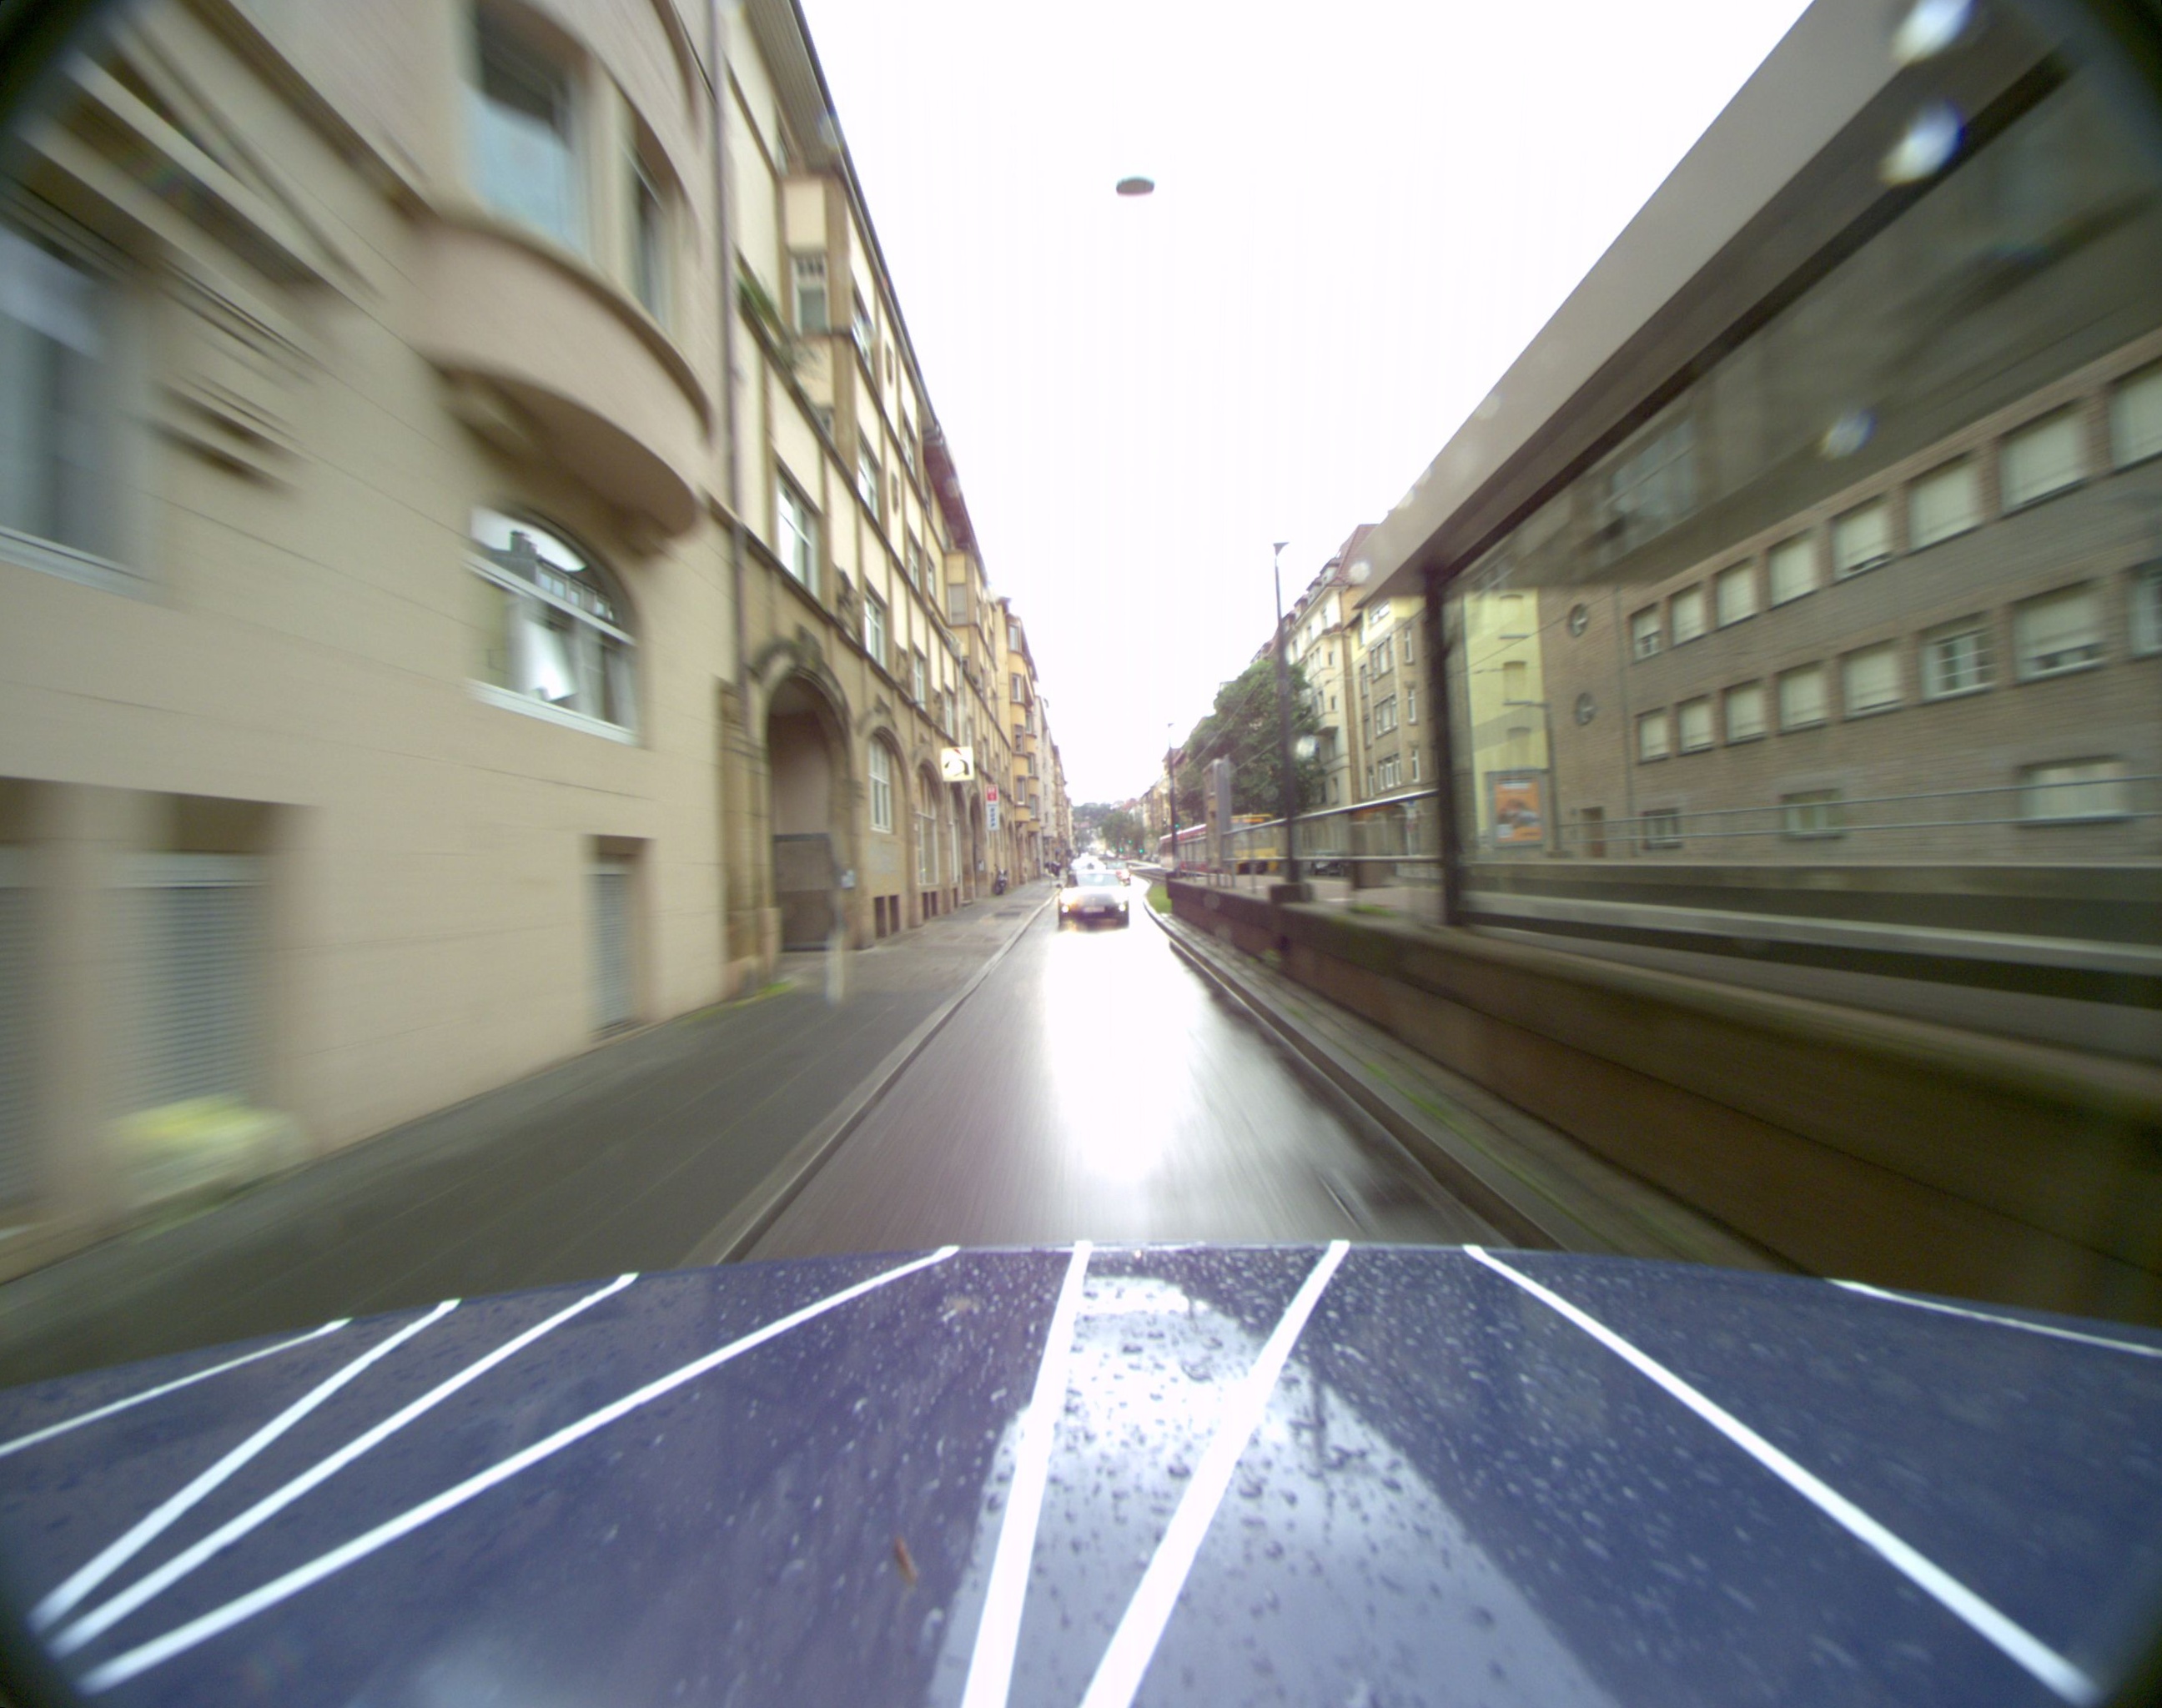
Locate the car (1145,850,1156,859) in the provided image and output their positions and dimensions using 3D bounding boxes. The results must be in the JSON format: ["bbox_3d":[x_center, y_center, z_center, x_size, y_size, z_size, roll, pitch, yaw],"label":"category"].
[{"bbox_3d":[16.275,0.148,178.340,1.998,1.958,4.000,-4,0,1],"label":"car"}]

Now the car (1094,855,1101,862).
[{"bbox_3d":[5.071,1.368,232.740,1.998,1.958,4.000,-4,0,1],"label":"car"}]

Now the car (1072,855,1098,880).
[{"bbox_3d":[0.346,1.011,59.354,1.741,1.787,4.266,-2,0,2],"label":"car"}]

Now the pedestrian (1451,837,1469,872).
[{"bbox_3d":[18.329,0.041,36.784,0.550,1.644,0.542,-3,0,2],"label":"pedestrian"}]

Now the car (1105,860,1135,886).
[{"bbox_3d":[2.308,1.127,45.955,1.689,1.451,3.299,-1,0,1],"label":"car"}]

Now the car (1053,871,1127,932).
[{"bbox_3d":[0.294,1.150,19.865,1.704,1.280,4.196,-2,0,2],"label":"car"}]

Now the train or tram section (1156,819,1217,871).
[{"bbox_3d":[9.123,-0.666,68.243,2.721,3.898,19.297,-2,0,0],"label":"train or tram section"}]

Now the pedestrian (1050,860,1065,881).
[{"bbox_3d":[-2.004,1.375,64.747,1.125,1.703,1.102,-3,0,1],"label":"pedestrian"}]

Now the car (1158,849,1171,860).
[{"bbox_3d":[16.563,0.156,150.378,1.998,1.958,4.000,-4,0,1],"label":"car"}]

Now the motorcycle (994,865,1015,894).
[{"bbox_3d":[-3.498,1.159,34.705,0.692,1.230,1.779,3,0,1],"label":"motorcycle"}]

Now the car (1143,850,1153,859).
[{"bbox_3d":[16.374,0.153,185.818,1.998,1.958,4.000,-4,0,1],"label":"car"}]

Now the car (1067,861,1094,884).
[{"bbox_3d":[-0.003,1.235,52.178,1.633,1.443,4.001,-2,0,2],"label":"car"}]

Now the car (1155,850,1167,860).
[{"bbox_3d":[16.347,0.161,155.351,1.998,1.958,4.000,-4,0,1],"label":"car"}]

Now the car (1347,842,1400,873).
[{"bbox_3d":[15.224,0.185,39.670,1.648,1.457,3.111,-2,0,2],"label":"car"}]

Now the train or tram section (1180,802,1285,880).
[{"bbox_3d":[9.068,-0.675,48.950,2.721,3.898,19.861,-2,0,0],"label":"train or tram section"}]

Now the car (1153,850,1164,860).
[{"bbox_3d":[16.418,0.154,161.102,1.998,1.958,4.000,-4,0,1],"label":"car"}]

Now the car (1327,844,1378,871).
[{"bbox_3d":[15.431,0.214,43.330,1.648,1.395,3.633,-2,0,2],"label":"car"}]
